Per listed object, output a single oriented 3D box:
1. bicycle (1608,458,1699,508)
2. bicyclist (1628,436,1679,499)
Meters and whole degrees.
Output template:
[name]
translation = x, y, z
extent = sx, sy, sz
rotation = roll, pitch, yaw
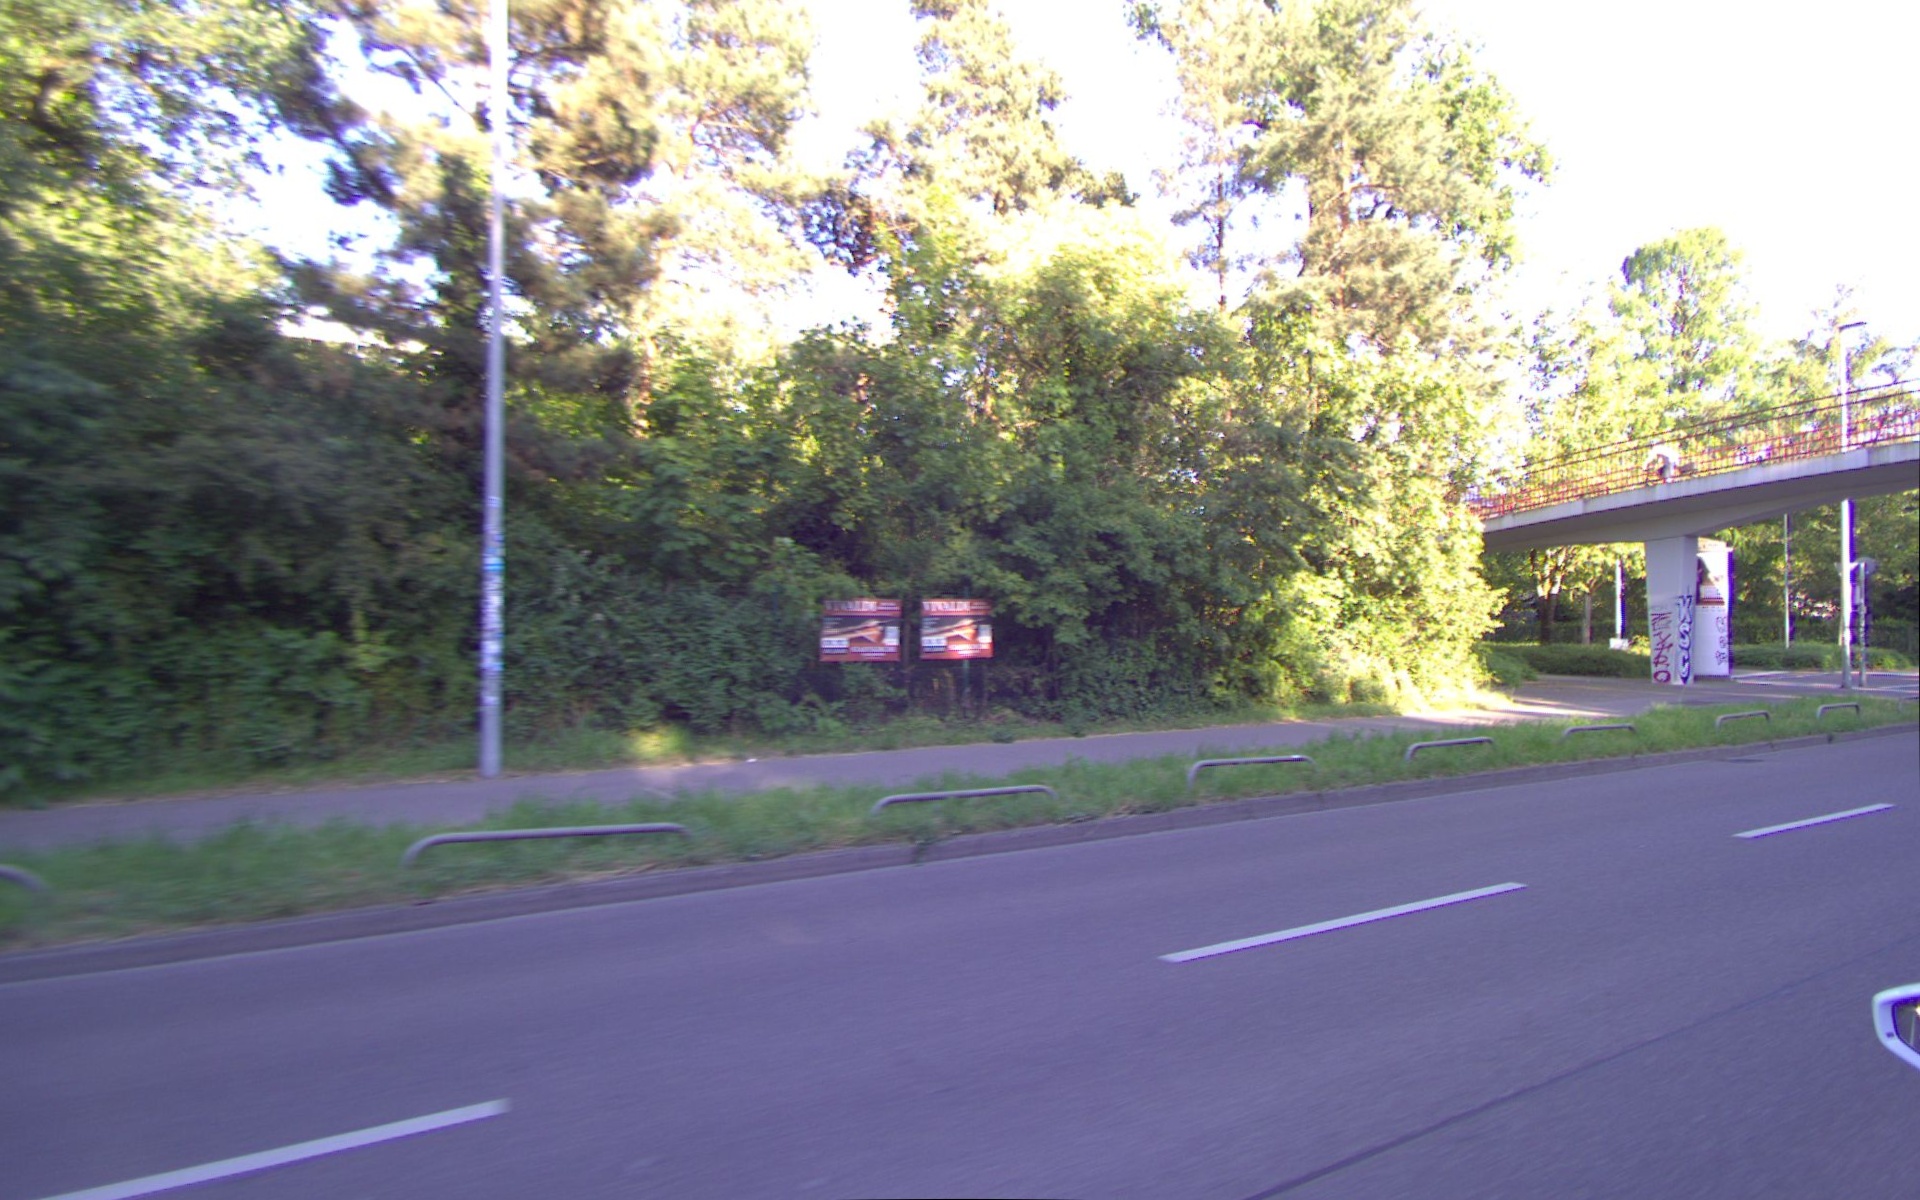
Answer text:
[bicycle]
translation = 19.482, -3.271, 28.253
extent = 0.706, 1.162, 1.976
rotation = 2, -1, -31
[bicyclist]
translation = 19.503, -3.714, 28.242
extent = 0.706, 1.607, 0.965
rotation = 2, 0, -31
